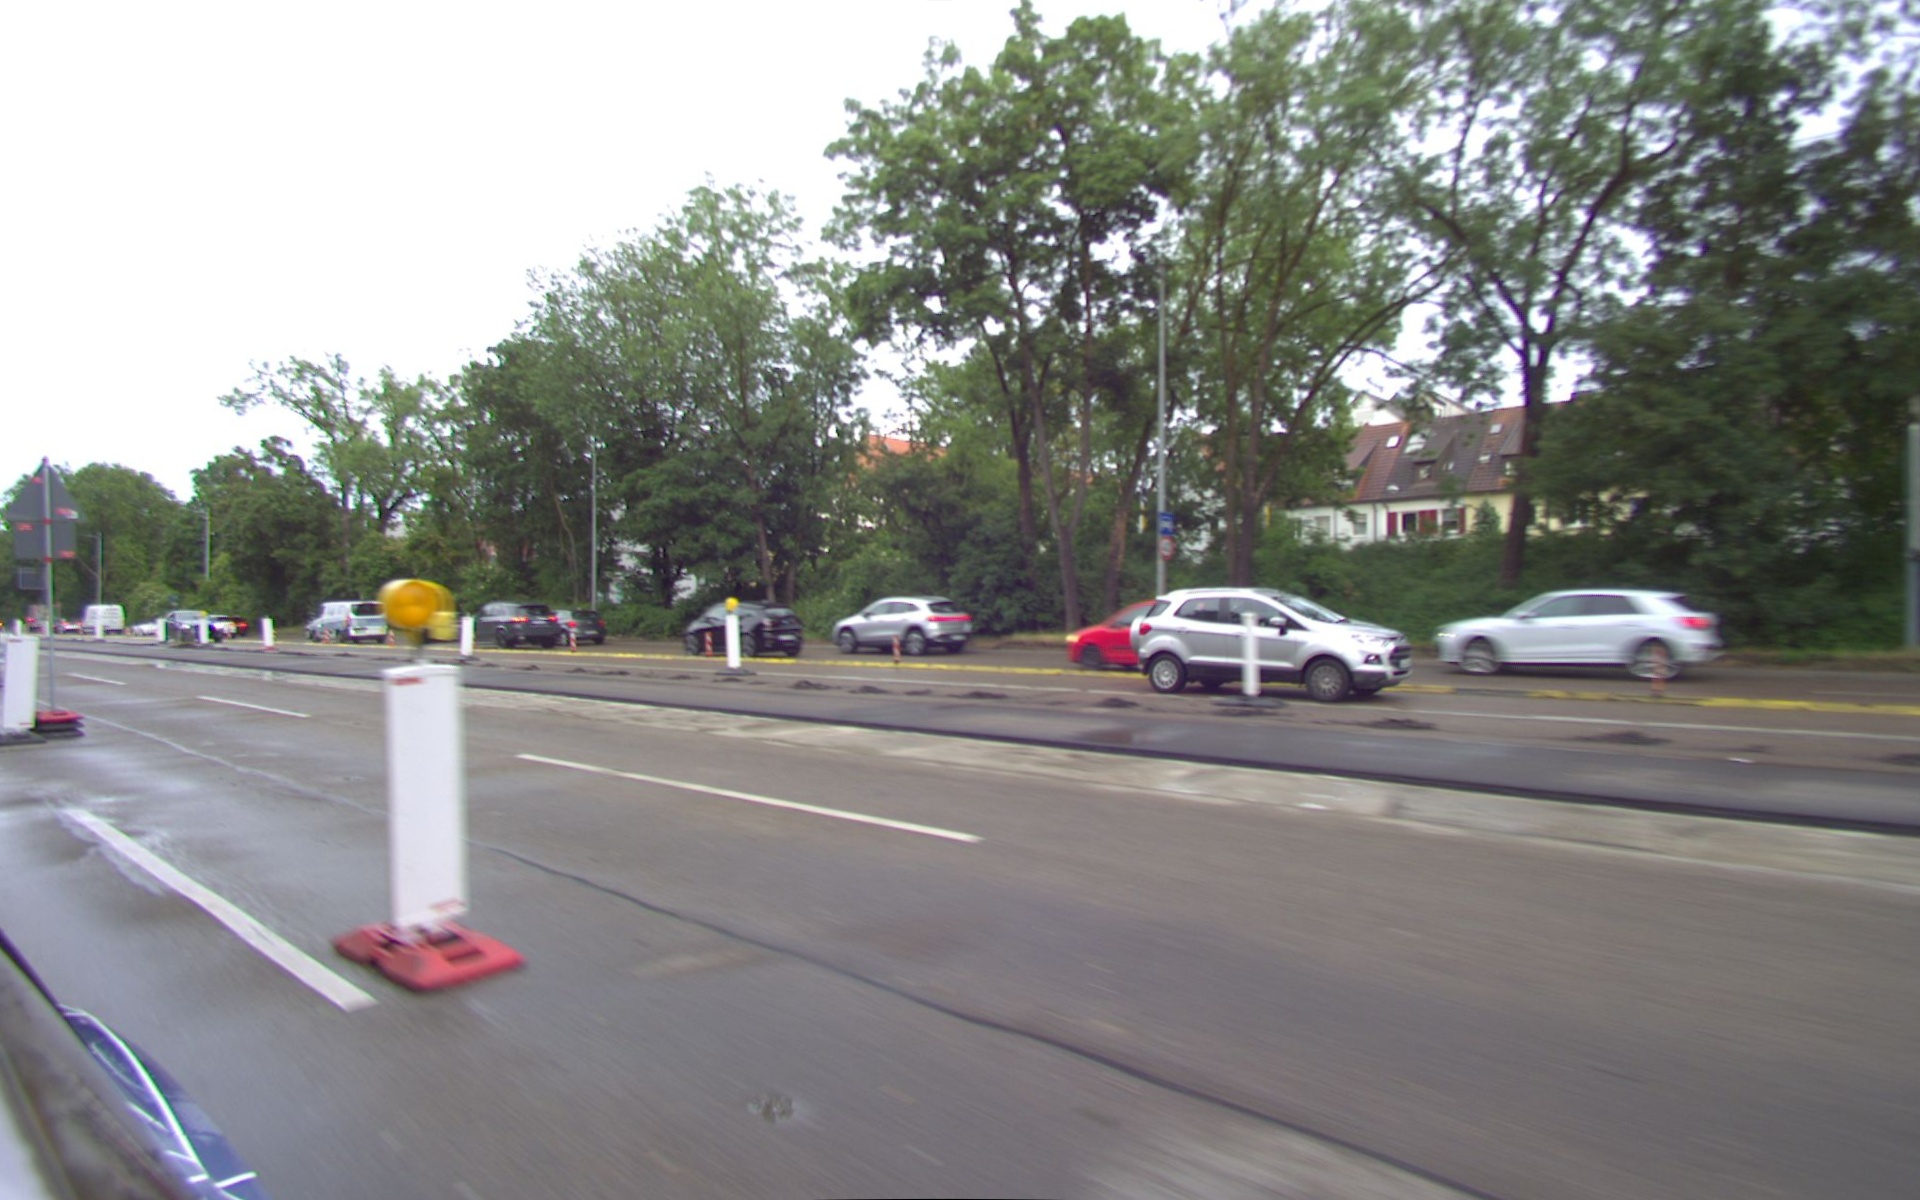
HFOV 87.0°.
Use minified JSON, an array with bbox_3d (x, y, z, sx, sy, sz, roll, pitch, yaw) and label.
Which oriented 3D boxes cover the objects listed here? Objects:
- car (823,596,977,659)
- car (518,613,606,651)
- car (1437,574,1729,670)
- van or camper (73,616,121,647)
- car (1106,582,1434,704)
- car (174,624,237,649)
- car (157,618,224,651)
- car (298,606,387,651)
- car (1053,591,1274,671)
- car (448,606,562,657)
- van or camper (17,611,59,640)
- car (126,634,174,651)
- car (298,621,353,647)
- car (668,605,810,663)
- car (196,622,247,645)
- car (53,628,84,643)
[{"bbox_3d":[-1.757,0.763,28.823,4.415,1.639,1.685,-2,0,40],"label":"car"},{"bbox_3d":[-16.067,1.272,40.744,3.998,1.431,1.628,-2,0,41],"label":"car"},{"bbox_3d":[10.836,0.392,17.774,4.146,1.508,1.662,-2,-2,41],"label":"car"},{"bbox_3d":[-77.227,2.784,90.508,7.723,2.574,1.974,-2,0,40],"label":"van or camper"},{"bbox_3d":[4.596,0.603,15.397,4.362,1.576,1.869,-2,0,42],"label":"car"},{"bbox_3d":[-45.994,2.189,61.669,4.387,1.426,1.975,-1,-1,38],"label":"car"},{"bbox_3d":[-40.551,1.785,53.267,4.811,1.641,1.972,-1,0,42],"label":"car"},{"bbox_3d":[-29.088,1.351,47.641,4.896,1.987,1.975,-2,0,38],"label":"car"},{"bbox_3d":[3.969,0.590,20.128,4.010,1.411,1.662,-2,0,41],"label":"car"},{"bbox_3d":[-17.199,1.175,38.140,5.009,1.738,2.000,-2,0,41],"label":"car"},{"bbox_3d":[-100.932,2.791,110.741,7.443,3.086,2.275,-2,-1,39],"label":"van or camper"},{"bbox_3d":[-63.669,3.340,79.554,3.985,1.192,1.677,-2,0,31],"label":"car"},{"bbox_3d":[-35.818,1.915,57.089,3.637,1.411,1.662,-2,0,41],"label":"car"},{"bbox_3d":[-6.357,0.947,28.863,4.193,1.499,1.758,-2,0,40],"label":"car"},{"bbox_3d":[-50.628,2.264,69.339,4.482,1.487,1.712,-2,-1,39],"label":"car"},{"bbox_3d":[-86.716,3.457,98.387,4.079,1.375,1.698,-2,-2,40],"label":"car"}]
